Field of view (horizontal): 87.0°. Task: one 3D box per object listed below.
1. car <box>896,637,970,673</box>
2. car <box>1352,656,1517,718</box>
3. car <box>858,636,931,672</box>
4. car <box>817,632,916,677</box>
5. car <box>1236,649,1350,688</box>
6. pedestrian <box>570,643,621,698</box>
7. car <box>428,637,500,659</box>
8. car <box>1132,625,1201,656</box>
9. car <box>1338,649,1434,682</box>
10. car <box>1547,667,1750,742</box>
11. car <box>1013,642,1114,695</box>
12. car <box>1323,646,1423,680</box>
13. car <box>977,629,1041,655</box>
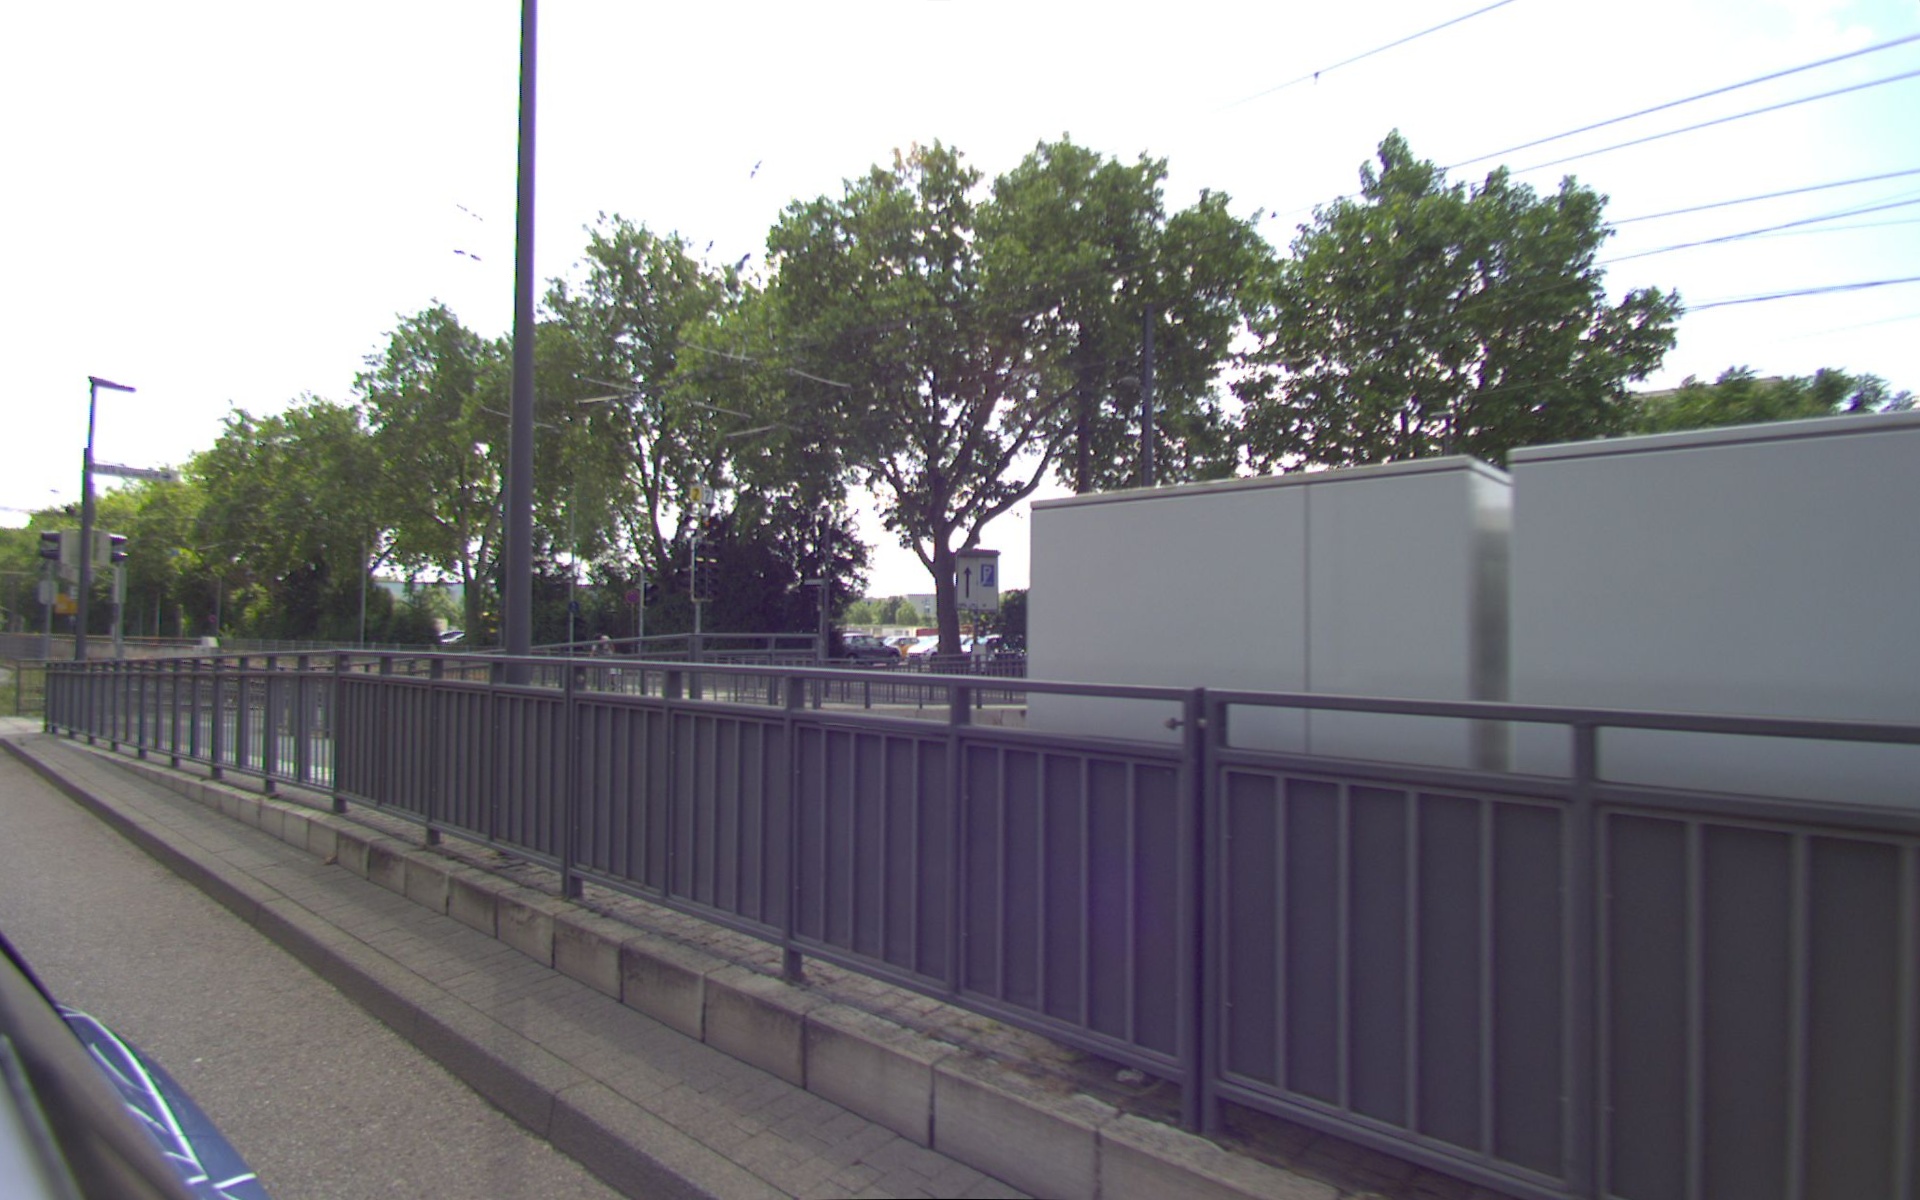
[{"bbox_3d":[-1.473,3.112,56.896,1.998,1.913,4.057,-1,-5,38],"label":"car"},{"bbox_3d":[12.715,2.284,27.248,3.654,1.546,1.672,-3,-5,44],"label":"car"},{"bbox_3d":[-3.762,3.156,58.712,1.998,1.913,4.057,-1,-5,38],"label":"car"},{"bbox_3d":[-4.090,2.429,44.862,1.999,1.845,4.053,-2,-5,42],"label":"car"},{"bbox_3d":[13.460,2.743,41.014,3.997,1.487,1.779,-2,-4,41],"label":"car"},{"bbox_3d":[-9.407,1.819,26.137,0.912,1.354,0.862,1,-4,8],"label":"pedestrian"},{"bbox_3d":[-33.815,3.300,69.022,1.999,1.453,3.945,-2,-3,41],"label":"car"},{"bbox_3d":[10.810,2.092,52.837,1.777,1.438,3.945,-2,-1,42],"label":"car"},{"bbox_3d":[21.528,3.306,51.228,4.104,1.494,1.860,-1,-5,41],"label":"car"},{"bbox_3d":[16.005,2.369,23.630,3.654,1.546,1.672,-3,-5,44],"label":"car"},{"bbox_3d":[3.753,2.411,36.113,1.801,1.763,3.949,-2,-4,37],"label":"car"},{"bbox_3d":[19.901,3.027,48.852,4.104,1.494,1.860,-1,-5,41],"label":"car"},{"bbox_3d":[3.031,2.588,62.010,3.941,1.497,1.717,3,-3,-45],"label":"car"}]
